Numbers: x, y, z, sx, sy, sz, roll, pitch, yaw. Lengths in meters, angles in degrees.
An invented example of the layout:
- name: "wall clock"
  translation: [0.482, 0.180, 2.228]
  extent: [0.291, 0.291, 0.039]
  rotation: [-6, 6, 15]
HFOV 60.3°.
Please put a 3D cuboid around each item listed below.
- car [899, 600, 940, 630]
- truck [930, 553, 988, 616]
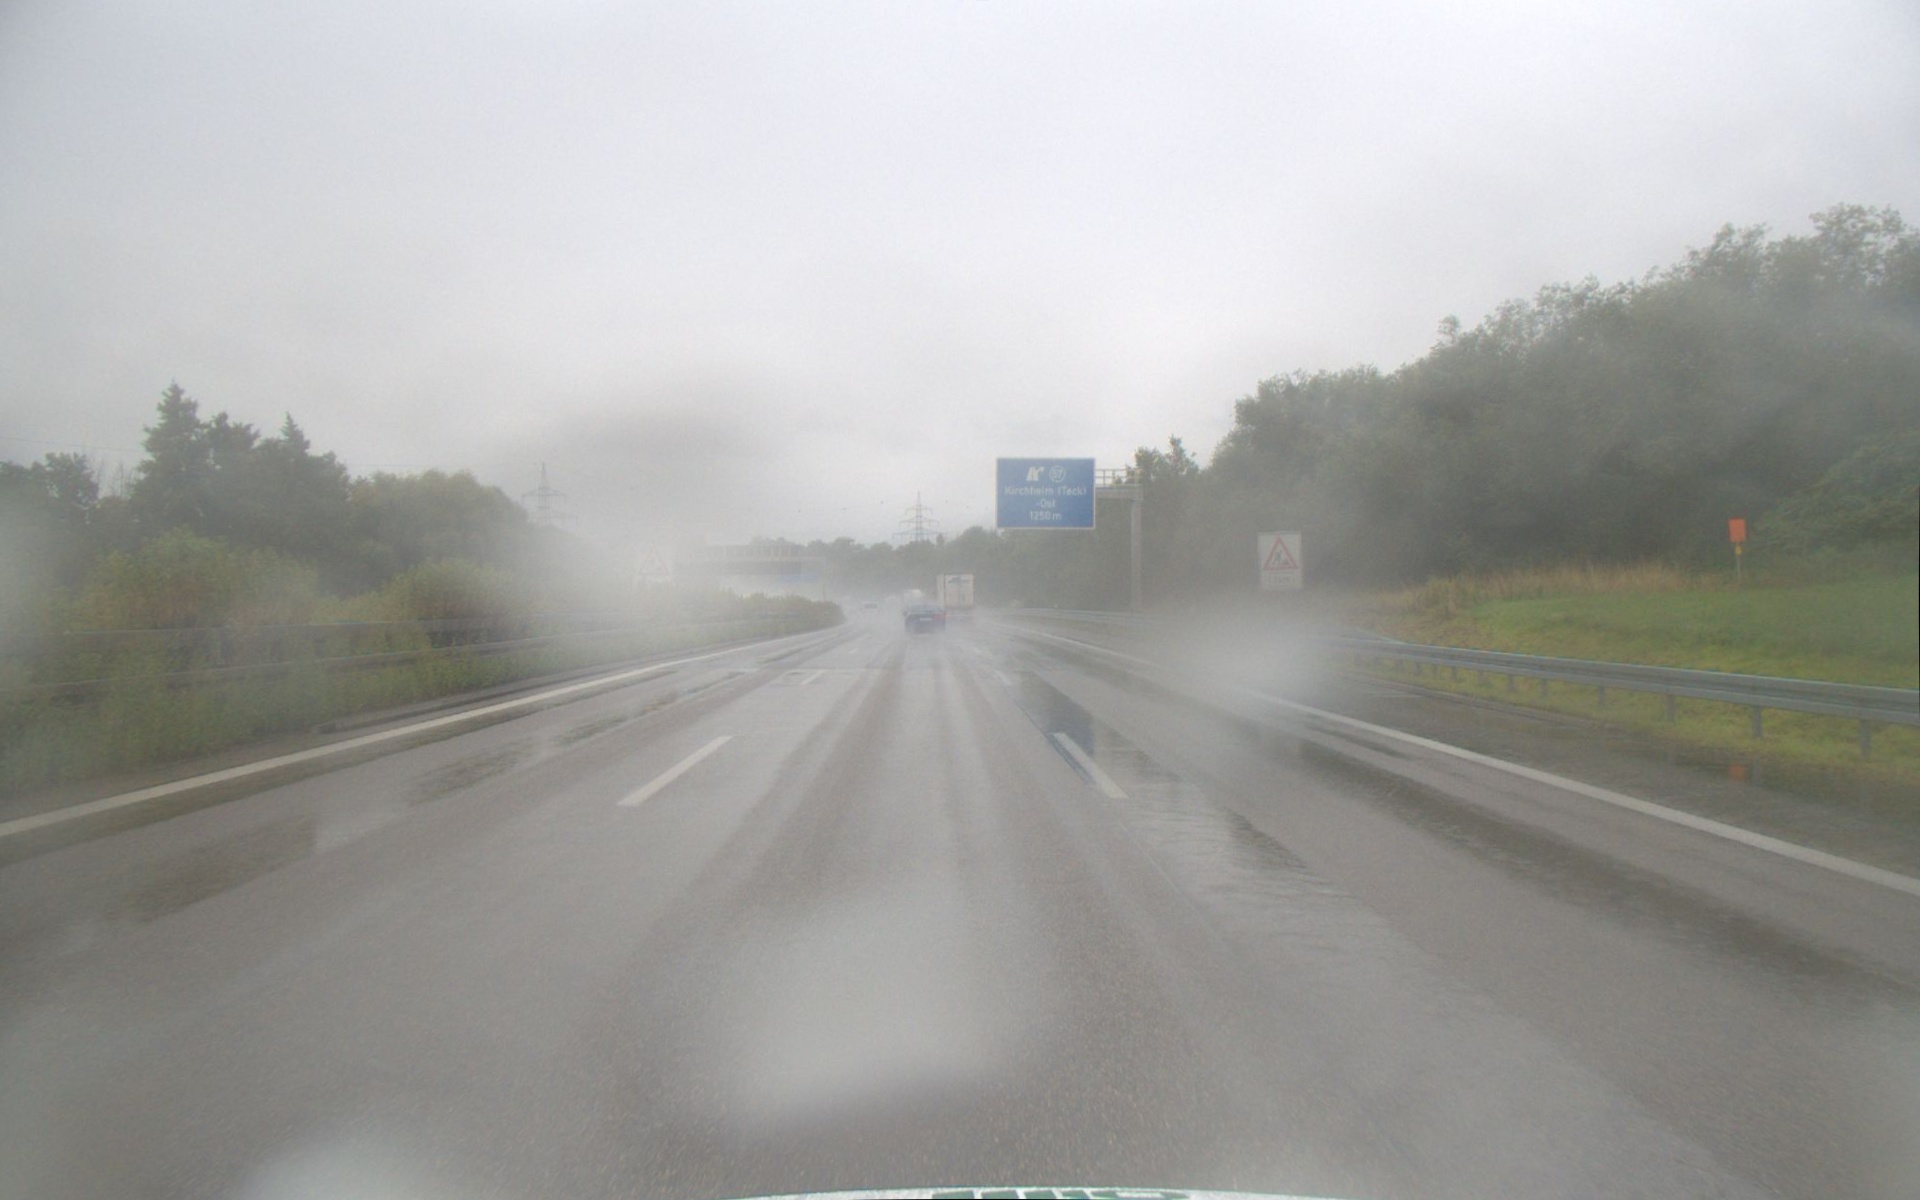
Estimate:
- name: "car"
  translation: [-1.759, 0.622, 71.600]
  extent: [1.713, 1.233, 3.998]
  rotation: [1, 0, -2]
- name: "truck"
  translation: [-0.242, -1.375, 145.964]
  extent: [4.172, 5.058, 17.331]
  rotation: [-3, 1, -3]
